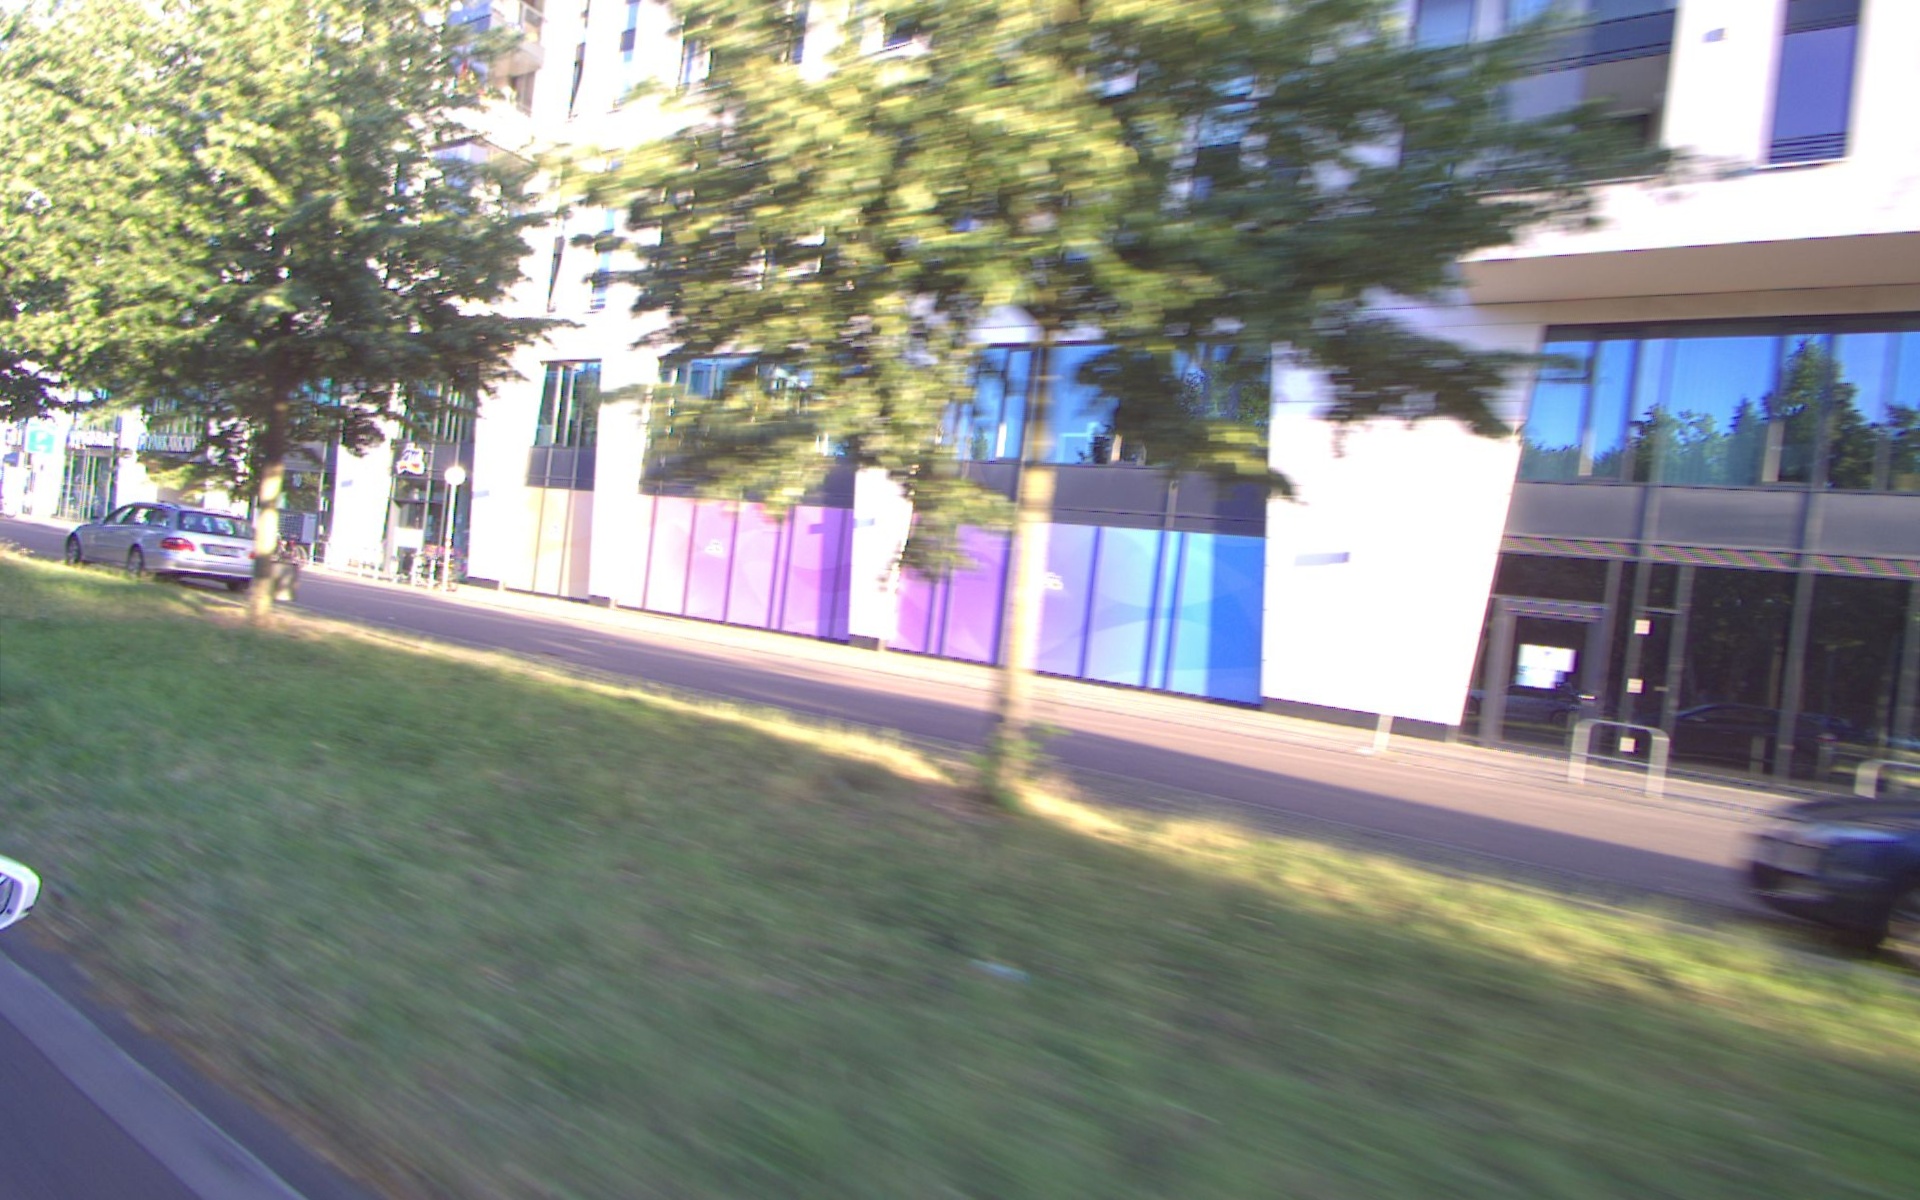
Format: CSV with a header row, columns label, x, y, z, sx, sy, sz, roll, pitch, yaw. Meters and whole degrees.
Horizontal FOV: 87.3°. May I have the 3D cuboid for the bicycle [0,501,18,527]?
label,x,y,z,sx,sy,sz,roll,pitch,yaw
bicycle,-42.022,-3.810,43.964,2.021,1.051,0.653,7,0,32

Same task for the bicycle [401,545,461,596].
label,x,y,z,sx,sy,sz,roll,pitch,yaw
bicycle,-14.211,-0.790,27.008,1.751,1.179,0.538,7,3,32

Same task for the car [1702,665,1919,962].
label,x,y,z,sx,sy,sz,roll,pitch,yaw
car,6.838,1.428,5.521,4.162,1.518,1.727,7,-1,32

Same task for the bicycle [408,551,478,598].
label,x,y,z,sx,sy,sz,roll,pitch,yaw
bicycle,-14.055,-0.689,27.347,1.822,1.075,0.534,7,2,19

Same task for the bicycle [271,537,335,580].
label,x,y,z,sx,sy,sz,roll,pitch,yaw
bicycle,-19.462,-1.219,29.797,1.822,1.075,0.534,7,2,19

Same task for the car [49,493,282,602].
label,x,y,z,sx,sy,sz,roll,pitch,yaw
car,-15.153,-1.020,19.126,4.744,1.519,1.811,7,0,31
